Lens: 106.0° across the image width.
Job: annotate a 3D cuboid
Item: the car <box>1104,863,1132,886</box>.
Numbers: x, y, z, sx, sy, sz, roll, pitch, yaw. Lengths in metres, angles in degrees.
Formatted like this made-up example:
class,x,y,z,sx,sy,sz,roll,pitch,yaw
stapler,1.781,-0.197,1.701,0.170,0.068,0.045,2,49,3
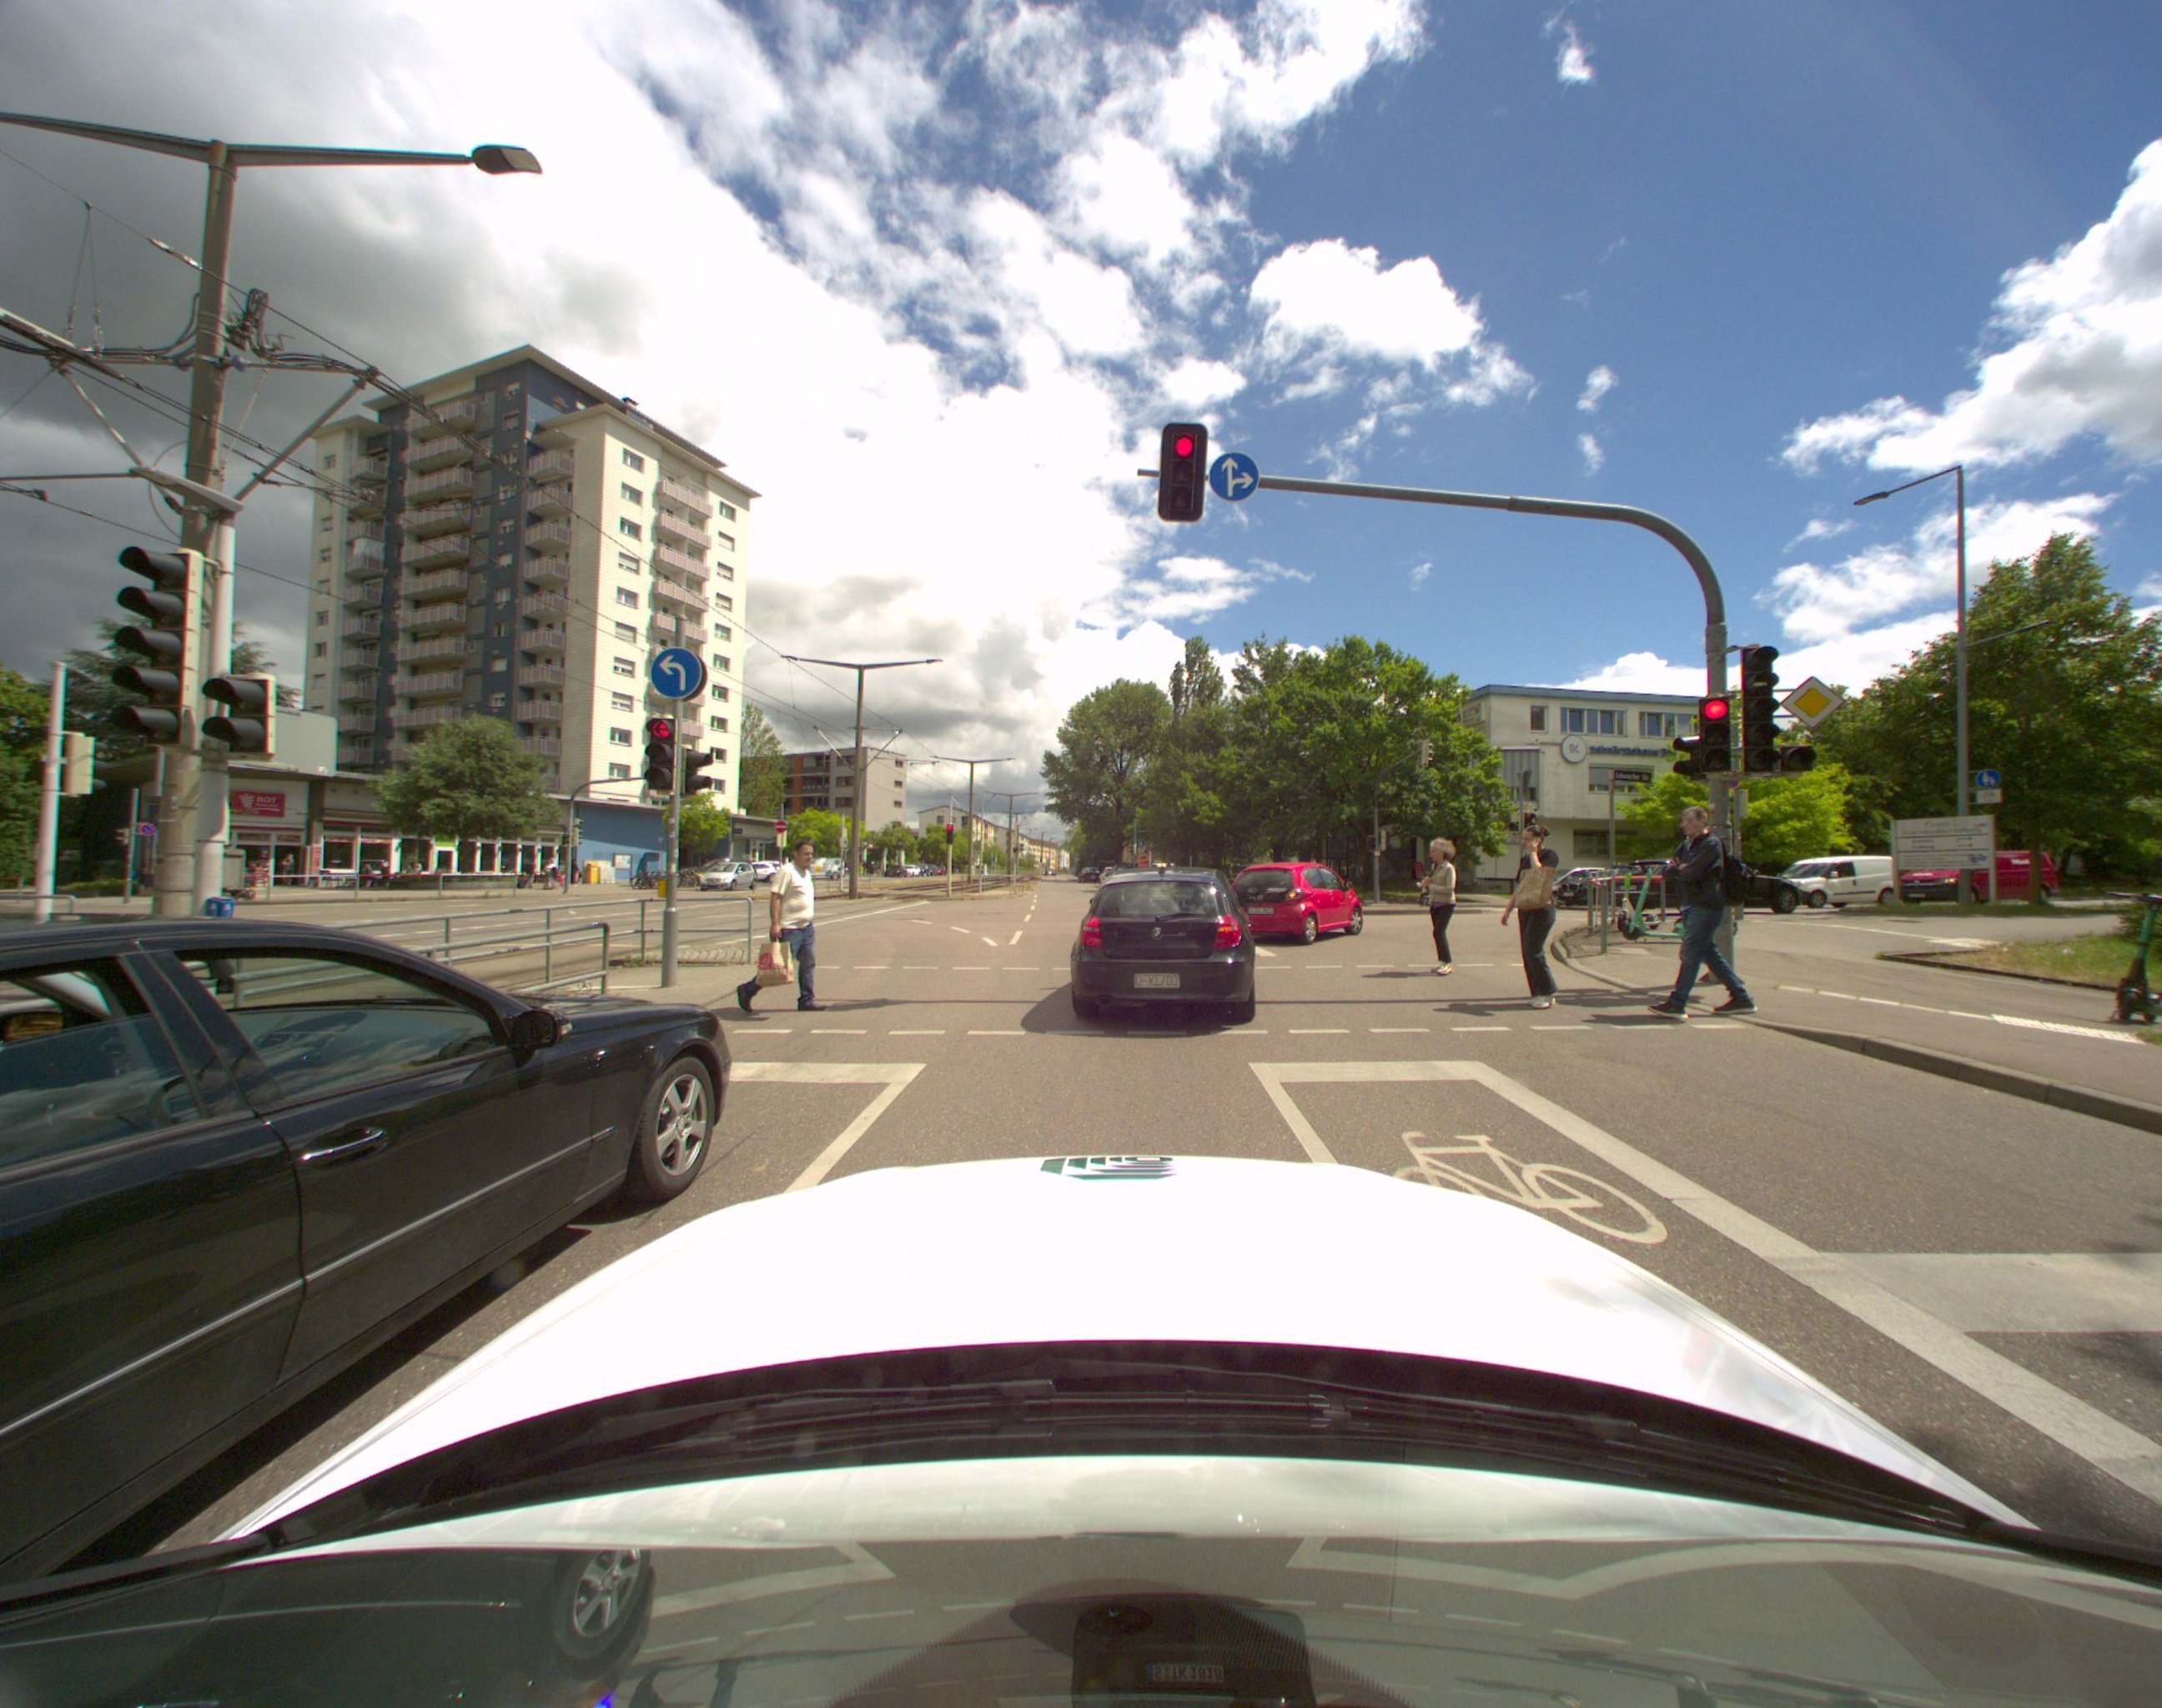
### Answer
class,x,y,z,sx,sy,sz,roll,pitch,yaw
car,2.766,1.518,61.422,1.986,1.684,4.001,0,-1,2

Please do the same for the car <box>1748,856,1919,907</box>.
class,x,y,z,sx,sy,sz,roll,pitch,yaw
car,26.468,0.942,28.719,4.554,1.717,1.995,0,0,-8

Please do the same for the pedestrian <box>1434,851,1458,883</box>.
class,x,y,z,sx,sy,sz,roll,pitch,yaw
pedestrian,18.777,0.678,41.903,0.769,1.643,0.903,0,-1,-14

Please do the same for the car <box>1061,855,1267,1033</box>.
class,x,y,z,sx,sy,sz,roll,pitch,yaw
car,1.022,0.757,8.926,1.742,1.487,4.010,0,0,9

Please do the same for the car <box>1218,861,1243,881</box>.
class,x,y,z,sx,sy,sz,roll,pitch,yaw
car,13.995,1.596,76.375,1.626,1.811,4.030,0,0,-1

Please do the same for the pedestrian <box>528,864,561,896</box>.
class,x,y,z,sx,sy,sz,roll,pitch,yaw
pedestrian,-28.211,1.358,42.832,0.940,1.659,1.100,-1,-1,4

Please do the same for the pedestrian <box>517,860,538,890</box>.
class,x,y,z,sx,sy,sz,roll,pitch,yaw
pedestrian,-30.163,1.127,44.383,0.769,1.615,0.693,0,-1,-20

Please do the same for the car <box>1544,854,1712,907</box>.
class,x,y,z,sx,sy,sz,roll,pitch,yaw
car,18.615,0.884,27.821,4.551,1.717,1.997,0,0,-5

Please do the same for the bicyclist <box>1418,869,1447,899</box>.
class,x,y,z,sx,sy,sz,roll,pitch,yaw
bicyclist,12.497,1.054,28.971,0.788,1.022,0.636,0,-1,1

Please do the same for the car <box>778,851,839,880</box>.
class,x,y,z,sx,sy,sz,roll,pitch,yaw
car,-24.277,0.994,72.423,2.847,2.478,6.642,0,-1,-41

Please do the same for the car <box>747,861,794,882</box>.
class,x,y,z,sx,sy,sz,roll,pitch,yaw
car,-24.475,1.351,64.146,1.972,1.538,4.165,0,-1,-45

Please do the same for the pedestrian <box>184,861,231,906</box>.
class,x,y,z,sx,sy,sz,roll,pitch,yaw
pedestrian,-33.255,1.120,31.019,0.957,1.659,1.002,-1,-1,28

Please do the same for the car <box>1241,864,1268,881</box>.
class,x,y,z,sx,sy,sz,roll,pitch,yaw
car,16.353,1.732,77.003,1.626,1.573,4.030,0,0,-1

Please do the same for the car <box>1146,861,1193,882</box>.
class,x,y,z,sx,sy,sz,roll,pitch,yaw
car,8.187,1.596,75.352,4.001,1.823,1.766,0,-1,-21

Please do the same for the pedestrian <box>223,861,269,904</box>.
class,x,y,z,sx,sy,sz,roll,pitch,yaw
pedestrian,-32.851,1.128,32.049,0.957,1.659,1.002,-1,-1,28

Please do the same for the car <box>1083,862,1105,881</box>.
class,x,y,z,sx,sy,sz,roll,pitch,yaw
car,1.237,1.652,76.721,1.986,1.684,4.002,0,0,2

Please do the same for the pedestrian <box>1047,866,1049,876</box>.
class,x,y,z,sx,sy,sz,roll,pitch,yaw
pedestrian,-5.368,2.796,132.126,0.334,1.627,0.356,0,-1,-16

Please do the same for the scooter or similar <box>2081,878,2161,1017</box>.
class,x,y,z,sx,sy,sz,roll,pitch,yaw
scooter or similar,10.615,0.939,8.138,1.247,1.276,0.710,6,-2,-38

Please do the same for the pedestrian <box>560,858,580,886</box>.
class,x,y,z,sx,sy,sz,roll,pitch,yaw
pedestrian,-29.477,1.050,46.969,0.767,1.615,0.695,0,-1,-11

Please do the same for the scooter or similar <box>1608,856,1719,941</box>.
class,x,y,z,sx,sy,sz,roll,pitch,yaw
scooter or similar,8.973,0.669,12.581,1.336,1.277,0.463,0,0,8

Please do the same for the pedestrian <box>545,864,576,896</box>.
class,x,y,z,sx,sy,sz,roll,pitch,yaw
pedestrian,-28.141,1.399,44.038,0.940,1.659,1.100,-1,-1,4

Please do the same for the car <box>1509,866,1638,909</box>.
class,x,y,z,sx,sy,sz,roll,pitch,yaw
car,18.981,1.277,31.477,3.906,1.556,1.994,0,0,-9

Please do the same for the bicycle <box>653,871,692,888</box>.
class,x,y,z,sx,sy,sz,roll,pitch,yaw
bicycle,-23.063,1.442,45.978,1.943,0.935,0.494,0,-1,-5

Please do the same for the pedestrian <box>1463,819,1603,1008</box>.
class,x,y,z,sx,sy,sz,roll,pitch,yaw
pedestrian,4.498,0.558,8.147,0.933,1.765,0.770,-1,0,-10

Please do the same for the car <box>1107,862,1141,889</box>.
class,x,y,z,sx,sy,sz,roll,pitch,yaw
car,2.808,1.415,53.967,2.144,1.684,4.002,0,-1,2

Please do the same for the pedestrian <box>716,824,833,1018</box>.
class,x,y,z,sx,sy,sz,roll,pitch,yaw
pedestrian,-2.978,0.626,7.988,0.866,1.808,0.741,0,0,-2

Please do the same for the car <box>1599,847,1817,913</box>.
class,x,y,z,sx,sy,sz,roll,pitch,yaw
car,15.936,0.633,20.771,4.511,1.554,1.991,0,-1,-13

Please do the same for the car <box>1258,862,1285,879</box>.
class,x,y,z,sx,sy,sz,roll,pitch,yaw
car,18.312,1.583,78.452,1.626,1.595,3.998,0,0,-1

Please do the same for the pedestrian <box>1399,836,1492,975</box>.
class,x,y,z,sx,sy,sz,roll,pitch,yaw
pedestrian,4.609,0.628,10.377,0.945,1.674,0.874,-1,-1,17

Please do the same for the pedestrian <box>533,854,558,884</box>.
class,x,y,z,sx,sy,sz,roll,pitch,yaw
pedestrian,-34.507,0.936,52.479,0.863,1.917,1.213,0,0,-5

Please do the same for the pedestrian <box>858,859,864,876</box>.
class,x,y,z,sx,sy,sz,roll,pitch,yaw
pedestrian,-23.184,1.423,85.738,0.547,1.716,0.667,0,-1,-8

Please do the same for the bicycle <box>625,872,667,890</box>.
class,x,y,z,sx,sy,sz,roll,pitch,yaw
bicycle,-23.175,1.417,43.369,1.943,0.935,0.494,0,-1,-5

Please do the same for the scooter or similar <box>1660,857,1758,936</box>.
class,x,y,z,sx,sy,sz,roll,pitch,yaw
scooter or similar,10.362,0.698,13.450,1.225,1.240,0.556,2,0,-7

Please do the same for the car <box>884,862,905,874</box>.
class,x,y,z,sx,sy,sz,roll,pitch,yaw
car,-21.486,1.577,93.859,1.758,1.395,3.993,0,0,-5

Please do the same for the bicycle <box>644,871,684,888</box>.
class,x,y,z,sx,sy,sz,roll,pitch,yaw
bicycle,-23.230,1.437,45.365,1.943,0.935,0.494,0,-1,-5

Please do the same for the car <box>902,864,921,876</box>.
class,x,y,z,sx,sy,sz,roll,pitch,yaw
car,-21.051,1.961,101.393,1.758,1.395,3.993,0,0,-5

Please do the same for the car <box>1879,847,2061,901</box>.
class,x,y,z,sx,sy,sz,roll,pitch,yaw
car,31.801,0.715,29.190,4.799,1.864,1.995,0,-2,-8

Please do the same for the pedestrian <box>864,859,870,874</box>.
class,x,y,z,sx,sy,sz,roll,pitch,yaw
pedestrian,-24.508,1.446,93.344,0.547,1.716,0.404,0,-1,-8

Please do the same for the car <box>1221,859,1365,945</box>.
class,x,y,z,sx,sy,sz,roll,pitch,yaw
car,4.100,0.815,15.497,1.527,1.441,3.216,0,0,37

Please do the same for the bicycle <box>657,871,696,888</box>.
class,x,y,z,sx,sy,sz,roll,pitch,yaw
bicycle,-23.081,1.447,46.470,1.943,0.935,0.494,0,-1,-5

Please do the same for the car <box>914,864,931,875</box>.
class,x,y,z,sx,sy,sz,roll,pitch,yaw
car,-21.021,2.048,107.964,1.758,1.395,3.993,0,0,-5

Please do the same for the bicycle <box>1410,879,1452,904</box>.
class,x,y,z,sx,sy,sz,roll,pitch,yaw
bicycle,12.502,1.343,29.130,0.788,0.819,1.808,0,0,2

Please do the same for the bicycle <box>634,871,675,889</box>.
class,x,y,z,sx,sy,sz,roll,pitch,yaw
bicycle,-23.223,1.427,44.342,1.943,0.935,0.494,0,-1,-5

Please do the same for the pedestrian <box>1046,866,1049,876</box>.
class,x,y,z,sx,sy,sz,roll,pitch,yaw
pedestrian,-5.380,2.747,132.301,0.477,1.637,0.454,0,-1,1

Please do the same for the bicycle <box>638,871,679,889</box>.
class,x,y,z,sx,sy,sz,roll,pitch,yaw
bicycle,-23.245,1.431,44.819,1.943,0.935,0.494,0,-1,-5

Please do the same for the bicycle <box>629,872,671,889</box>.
class,x,y,z,sx,sy,sz,roll,pitch,yaw
bicycle,-23.201,1.421,43.836,1.943,0.935,0.494,0,-1,-5

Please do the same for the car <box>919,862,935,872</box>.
class,x,y,z,sx,sy,sz,roll,pitch,yaw
car,-21.212,1.812,112.558,1.758,1.395,3.993,0,0,-5

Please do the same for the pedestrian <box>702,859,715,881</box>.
class,x,y,z,sx,sy,sz,roll,pitch,yaw
pedestrian,-27.998,1.195,61.171,0.768,1.615,0.695,0,-1,-15

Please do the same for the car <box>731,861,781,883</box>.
class,x,y,z,sx,sy,sz,roll,pitch,yaw
car,-24.339,1.350,60.908,1.972,1.570,4.165,0,-1,-45

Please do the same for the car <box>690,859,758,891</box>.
class,x,y,z,sx,sy,sz,roll,pitch,yaw
car,-19.704,1.148,45.159,1.929,1.693,3.874,0,0,2

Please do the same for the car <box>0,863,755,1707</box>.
class,x,y,z,sx,sy,sz,roll,pitch,yaw
car,-2.711,0.767,2.149,1.721,1.461,4.546,0,0,2

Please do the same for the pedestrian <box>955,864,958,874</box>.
class,x,y,z,sx,sy,sz,roll,pitch,yaw
pedestrian,-20.506,2.440,133.841,0.451,1.637,0.480,0,-1,-1

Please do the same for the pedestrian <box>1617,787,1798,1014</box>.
class,x,y,z,sx,sy,sz,roll,pitch,yaw
pedestrian,5.679,0.401,7.442,0.963,1.942,0.896,0,0,-2

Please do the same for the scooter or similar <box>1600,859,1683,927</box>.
class,x,y,z,sx,sy,sz,roll,pitch,yaw
scooter or similar,9.883,0.679,14.365,1.360,1.156,0.540,2,0,-23

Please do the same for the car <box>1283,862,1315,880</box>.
class,x,y,z,sx,sy,sz,roll,pitch,yaw
car,21.004,1.618,78.678,1.728,1.595,3.993,0,0,-5
